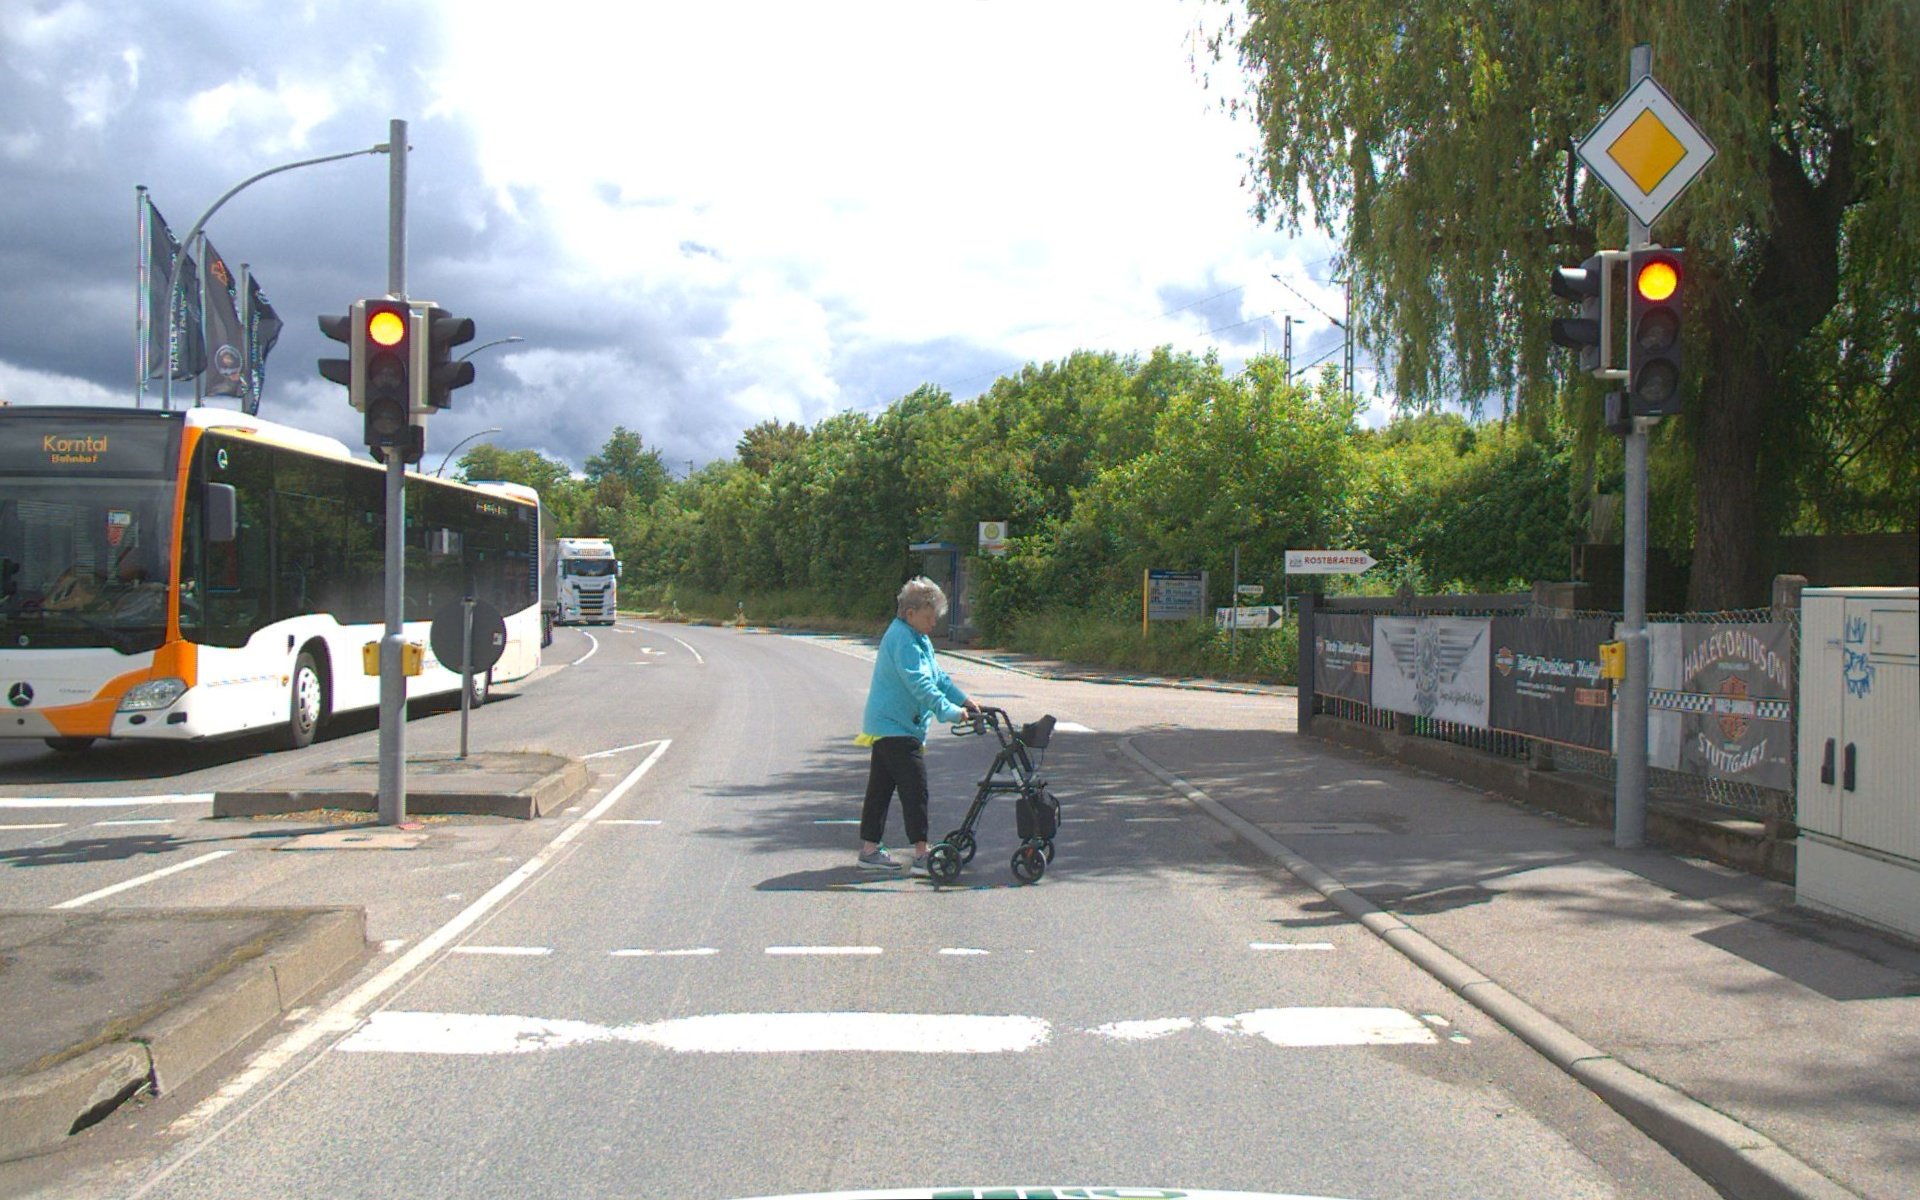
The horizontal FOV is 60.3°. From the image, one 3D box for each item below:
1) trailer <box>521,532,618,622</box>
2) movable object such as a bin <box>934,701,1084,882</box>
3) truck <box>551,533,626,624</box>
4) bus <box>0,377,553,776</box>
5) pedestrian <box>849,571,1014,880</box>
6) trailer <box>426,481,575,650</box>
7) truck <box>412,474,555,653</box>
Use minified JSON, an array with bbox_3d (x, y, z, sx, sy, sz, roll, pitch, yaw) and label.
[{"bbox_3d":[-20.391,-1.109,85.616,2.732,4.217,15.251,1,0,-21],"label":"trailer"},{"bbox_3d":[0.247,1.008,8.845,0.731,0.887,0.670,1,0,-4],"label":"movable object such as a bin"},{"bbox_3d":[-17.782,-0.983,78.950,2.732,4.191,4.954,1,0,-22],"label":"truck"},{"bbox_3d":[-7.418,-0.163,18.920,2.663,3.084,12.263,0,0,-1],"label":"bus"},{"bbox_3d":[-0.168,0.645,8.822,0.822,1.570,0.733,1,-1,-4],"label":"pedestrian"},{"bbox_3d":[-13.186,-0.838,48.763,2.748,4.124,15.517,1,0,-10],"label":"trailer"},{"bbox_3d":[-11.890,-0.845,41.816,2.748,4.124,6.484,1,0,-10],"label":"truck"}]
